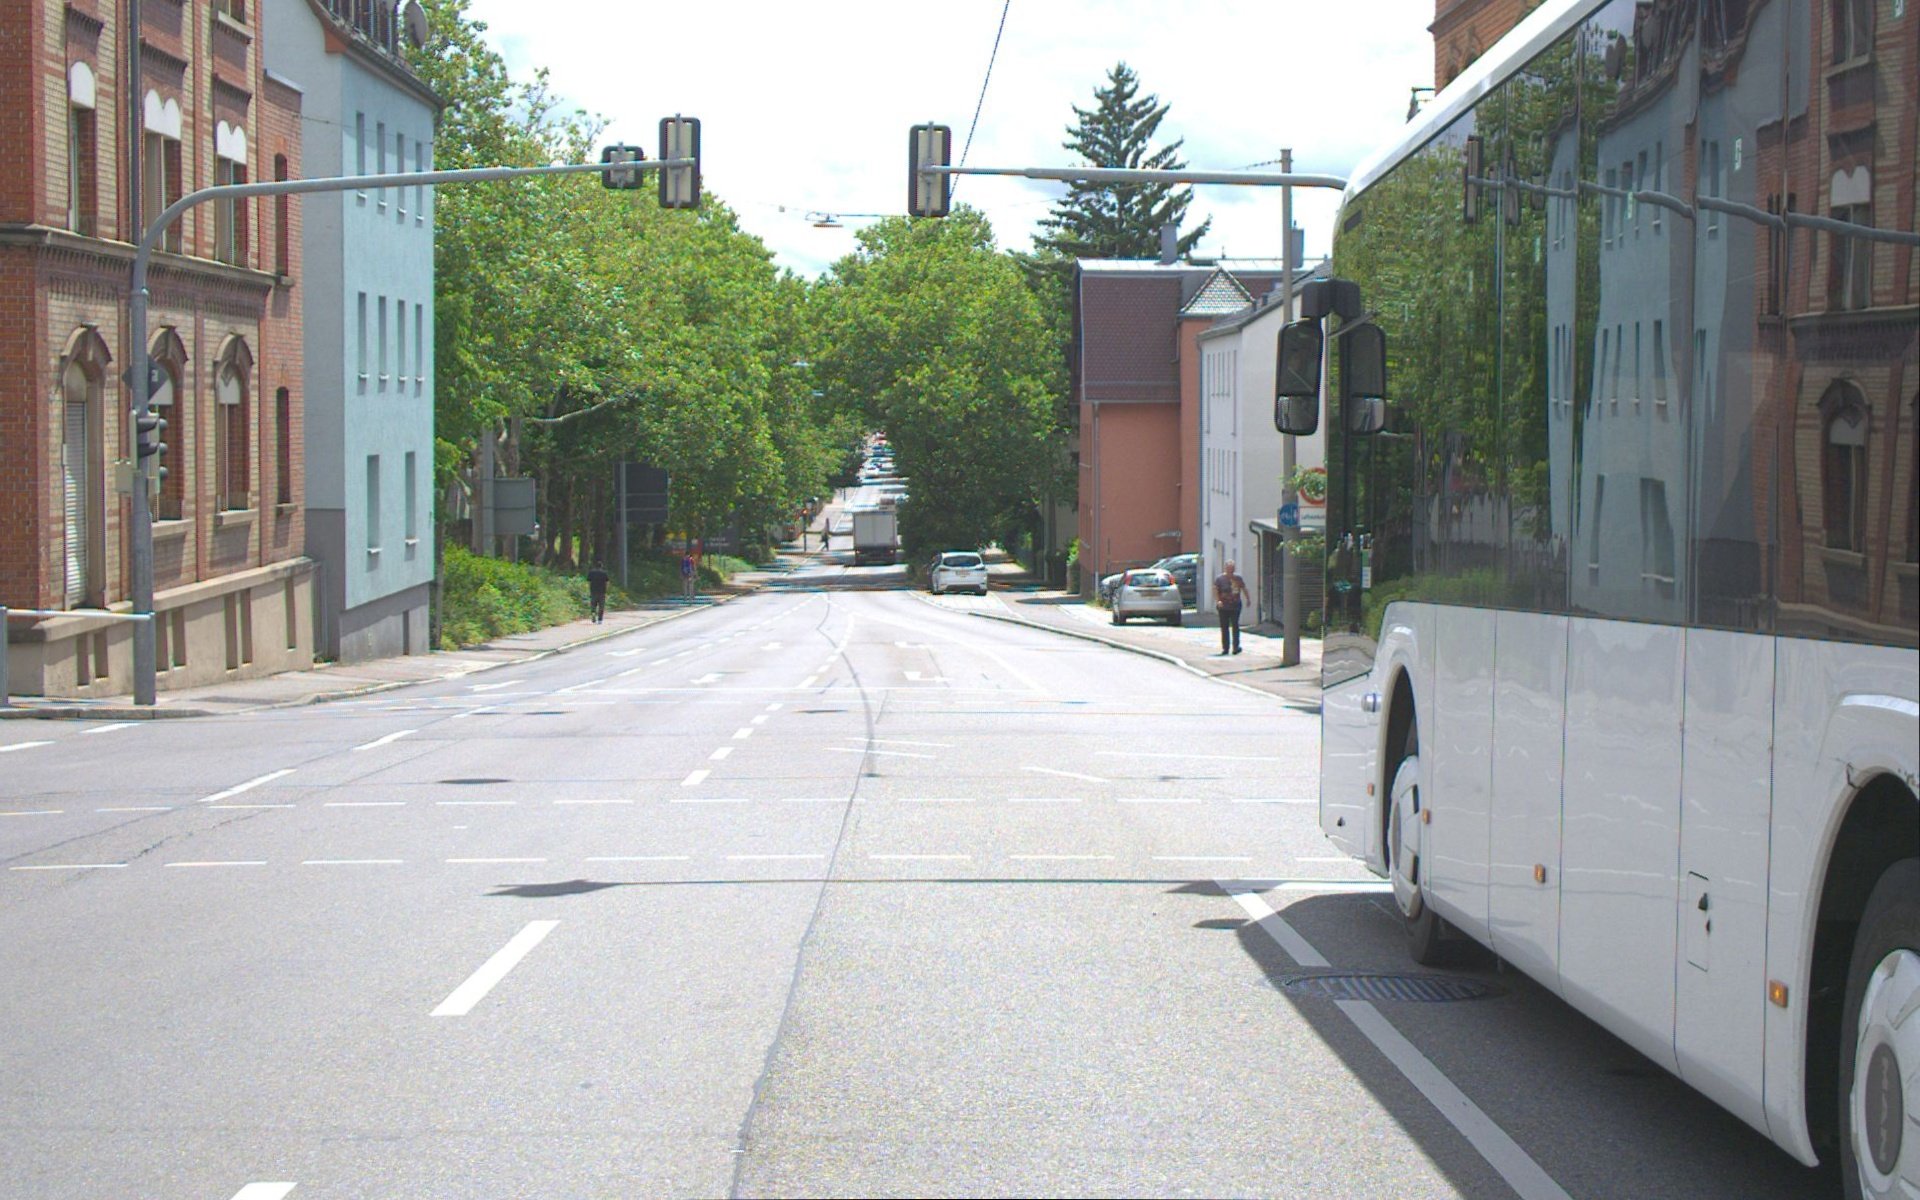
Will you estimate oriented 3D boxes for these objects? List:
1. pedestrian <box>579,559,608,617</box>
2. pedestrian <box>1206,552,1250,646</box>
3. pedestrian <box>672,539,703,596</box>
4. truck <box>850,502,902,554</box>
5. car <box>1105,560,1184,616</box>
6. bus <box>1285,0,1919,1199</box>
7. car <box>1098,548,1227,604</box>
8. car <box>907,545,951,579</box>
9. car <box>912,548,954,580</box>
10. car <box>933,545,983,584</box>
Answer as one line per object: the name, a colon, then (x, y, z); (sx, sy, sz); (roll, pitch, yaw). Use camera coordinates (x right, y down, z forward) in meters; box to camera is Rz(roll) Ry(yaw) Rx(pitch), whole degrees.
pedestrian: (-9.828, -0.330, 92.239); (0.729, 1.560, 0.561); (0, 1, -1)
pedestrian: (4.996, -0.021, 64.100); (0.738, 1.744, 0.619); (-1, 1, -1)
pedestrian: (-9.751, -1.160, 123.042); (0.995, 2.007, 1.189); (-1, 1, -1)
truck: (-5.156, -4.380, 209.478); (2.926, 3.070, 7.886); (-1, 1, -3)
car: (4.975, -0.351, 93.070); (1.794, 1.405, 4.001); (-1, 1, -2)
bus: (2.858, -0.239, 9.201); (2.672, 3.145, 12.462); (0, 1, 0)
car: (6.648, -0.805, 113.168); (3.986, 1.751, 2.000); (-1, 1, -5)
car: (-1.301, -1.615, 145.930); (1.794, 1.405, 4.419); (1, 1, 0)
car: (-1.203, -1.620, 153.930); (1.794, 1.405, 4.419); (1, 1, 0)
car: (-0.095, -1.334, 129.507); (1.794, 1.405, 4.000); (1, 1, -1)
